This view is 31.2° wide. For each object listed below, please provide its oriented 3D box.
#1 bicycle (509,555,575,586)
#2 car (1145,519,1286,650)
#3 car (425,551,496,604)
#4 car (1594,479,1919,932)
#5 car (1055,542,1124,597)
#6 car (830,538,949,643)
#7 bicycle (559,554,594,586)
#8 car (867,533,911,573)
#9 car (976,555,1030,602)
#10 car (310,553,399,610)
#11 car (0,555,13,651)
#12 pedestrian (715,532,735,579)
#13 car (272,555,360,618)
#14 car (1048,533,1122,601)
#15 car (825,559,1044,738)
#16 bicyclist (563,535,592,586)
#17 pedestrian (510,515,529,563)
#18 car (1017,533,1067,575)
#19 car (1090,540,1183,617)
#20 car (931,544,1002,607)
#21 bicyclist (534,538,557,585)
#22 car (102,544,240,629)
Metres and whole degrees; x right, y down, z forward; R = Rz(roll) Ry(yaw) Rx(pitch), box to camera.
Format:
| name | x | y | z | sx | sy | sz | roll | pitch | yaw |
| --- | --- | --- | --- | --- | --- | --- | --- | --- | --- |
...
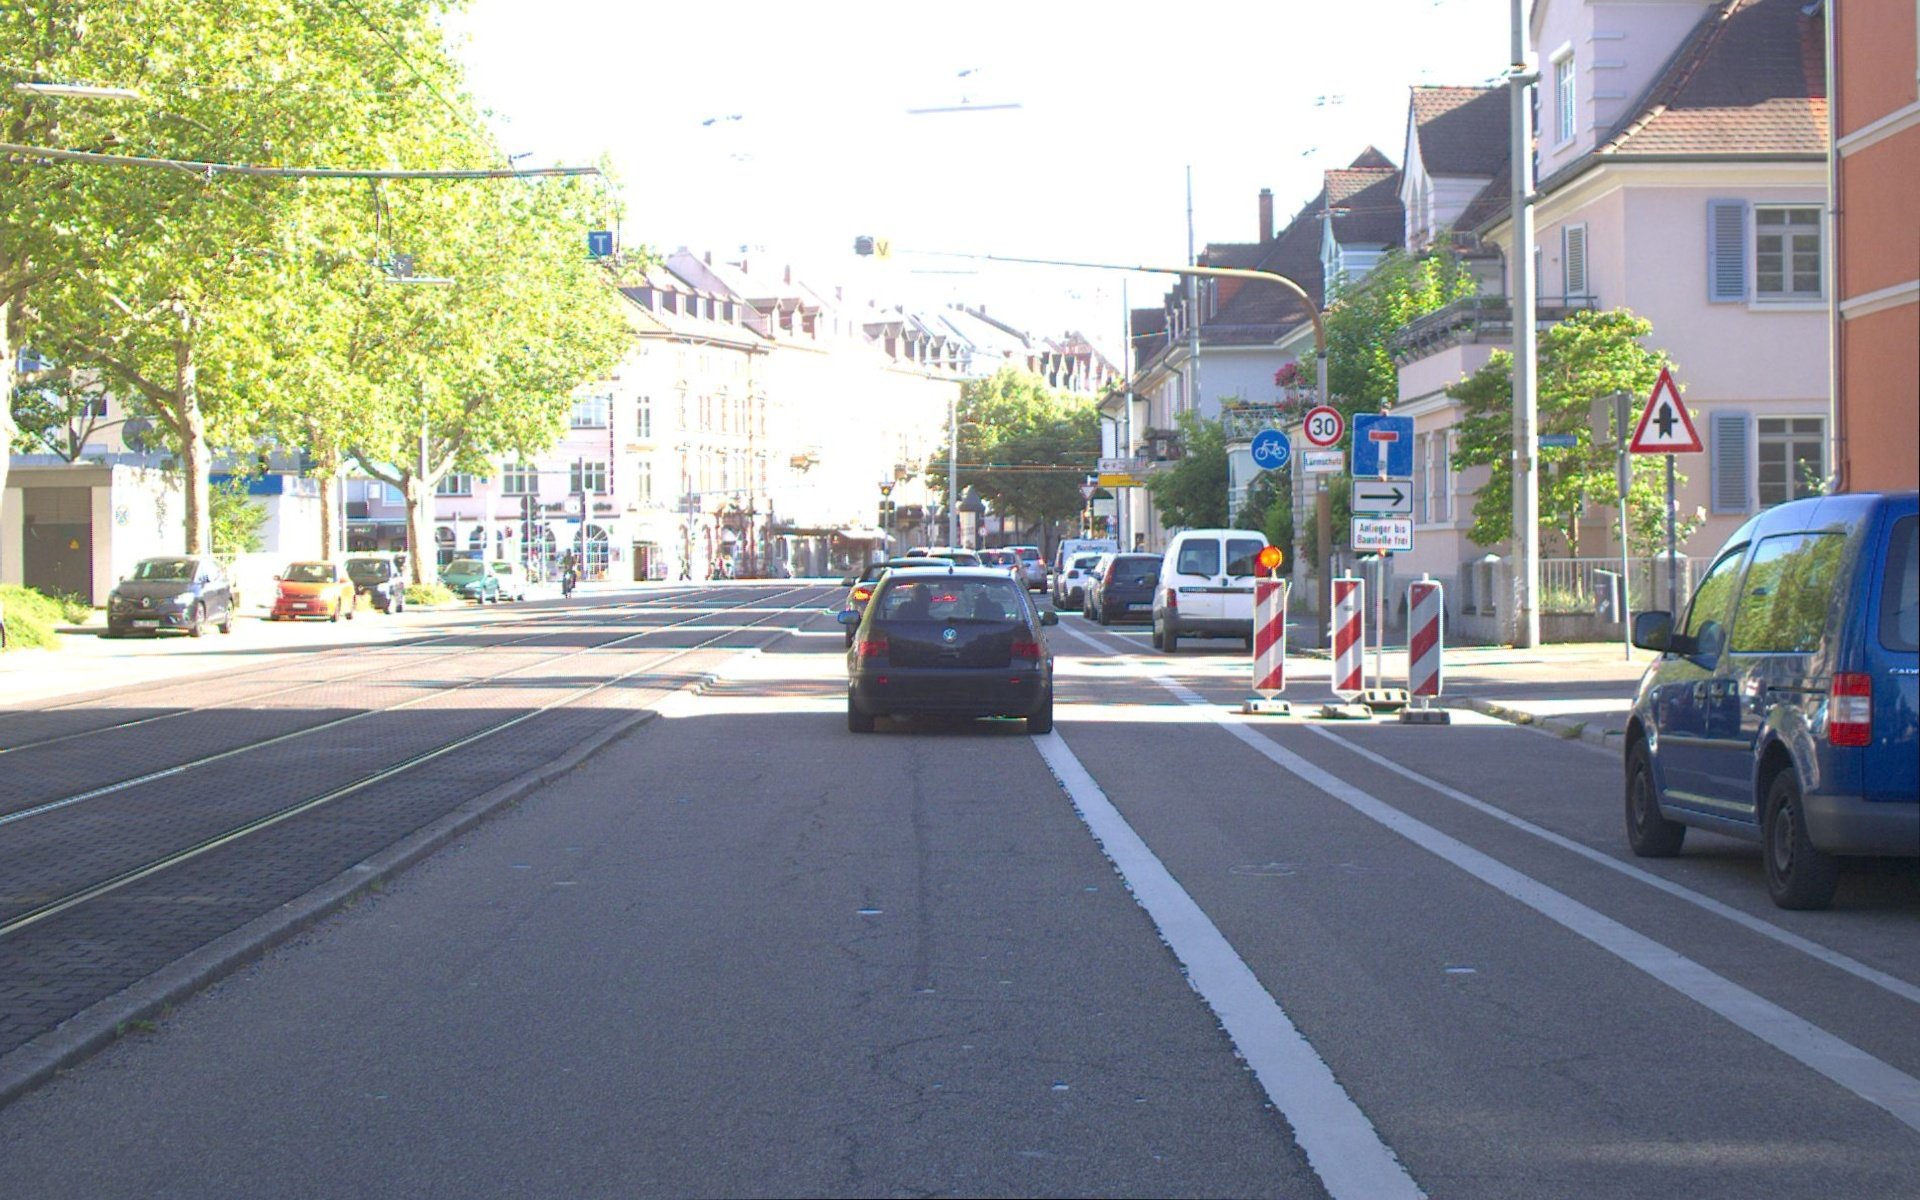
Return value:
| name | x | y | z | sx | sy | sz | roll | pitch | yaw |
| --- | --- | --- | --- | --- | --- | --- | --- | --- | --- |
| bicycle | -18.026 | -1.277 | 148.395 | 2.742 | 1.258 | 0.706 | 1 | 1 | 0 |
| car | 3.766 | -0.264 | 51.199 | 1.759 | 1.831 | 3.548 | 1 | 1 | -1 |
| car | -16.687 | -0.779 | 115.040 | 1.883 | 1.663 | 3.805 | 1 | 1 | -2 |
| car | 4.270 | 0.396 | 15.916 | 1.702 | 1.804 | 4.272 | 1 | 1 | -2 |
| car | 3.323 | -0.804 | 88.810 | 1.580 | 1.370 | 4.000 | 0 | 1 | -1 |
| car | -1.068 | -0.177 | 53.379 | 1.748 | 1.532 | 3.892 | -1 | 1 | 0 |
| bicycle | -13.772 | -1.070 | 123.577 | 0.914 | 1.079 | 3.203 | 1 | 1 | -1 |
| car | -2.744 | -1.822 | 133.472 | 1.636 | 1.467 | 3.729 | -2 | 1 | 0 |
| car | 1.355 | -0.699 | 109.748 | 1.636 | 1.467 | 3.729 | 0 | 1 | -1 |
| car | -16.765 | -0.540 | 95.307 | 1.792 | 1.460 | 3.836 | 2 | 1 | -1 |
| car | -15.921 | 0.067 | 52.925 | 1.574 | 1.502 | 4.090 | 1 | 1 | -1 |
| pedestrian | -13.308 | -2.513 | 194.671 | 0.956 | 2.650 | 1.099 | 1 | 1 | -9 |
| car | -16.129 | -0.341 | 86.265 | 1.570 | 1.528 | 3.572 | 0 | 0 | -1 |
| car | 3.377 | -0.920 | 93.573 | 1.817 | 1.793 | 4.000 | 0 | 1 | -1 |
| car | -0.266 | 0.365 | 29.676 | 1.748 | 1.370 | 4.001 | -1 | 1 | -2 |
| bicyclist | -13.759 | -1.426 | 123.714 | 0.914 | 1.827 | 0.960 | 1 | 1 | 0 |
| pedestrian | -24.512 | -3.424 | 191.490 | 0.956 | 2.650 | 1.099 | 1 | 1 | -9 |
| car | 2.887 | -1.640 | 122.084 | 1.636 | 1.467 | 3.729 | 0 | 1 | -1 |
| car | 3.620 | -0.469 | 70.960 | 1.661 | 1.520 | 4.036 | 0 | 1 | -1 |
| car | 0.143 | -0.601 | 81.762 | 1.636 | 1.467 | 3.729 | 0 | 1 | -1 |
| bicyclist | -17.897 | -1.651 | 148.389 | 0.876 | 2.002 | 0.706 | 1 | 1 | 0 |
| car | -15.948 | -0.305 | 69.664 | 1.888 | 1.660 | 4.000 | 0 | 1 | -1 |
